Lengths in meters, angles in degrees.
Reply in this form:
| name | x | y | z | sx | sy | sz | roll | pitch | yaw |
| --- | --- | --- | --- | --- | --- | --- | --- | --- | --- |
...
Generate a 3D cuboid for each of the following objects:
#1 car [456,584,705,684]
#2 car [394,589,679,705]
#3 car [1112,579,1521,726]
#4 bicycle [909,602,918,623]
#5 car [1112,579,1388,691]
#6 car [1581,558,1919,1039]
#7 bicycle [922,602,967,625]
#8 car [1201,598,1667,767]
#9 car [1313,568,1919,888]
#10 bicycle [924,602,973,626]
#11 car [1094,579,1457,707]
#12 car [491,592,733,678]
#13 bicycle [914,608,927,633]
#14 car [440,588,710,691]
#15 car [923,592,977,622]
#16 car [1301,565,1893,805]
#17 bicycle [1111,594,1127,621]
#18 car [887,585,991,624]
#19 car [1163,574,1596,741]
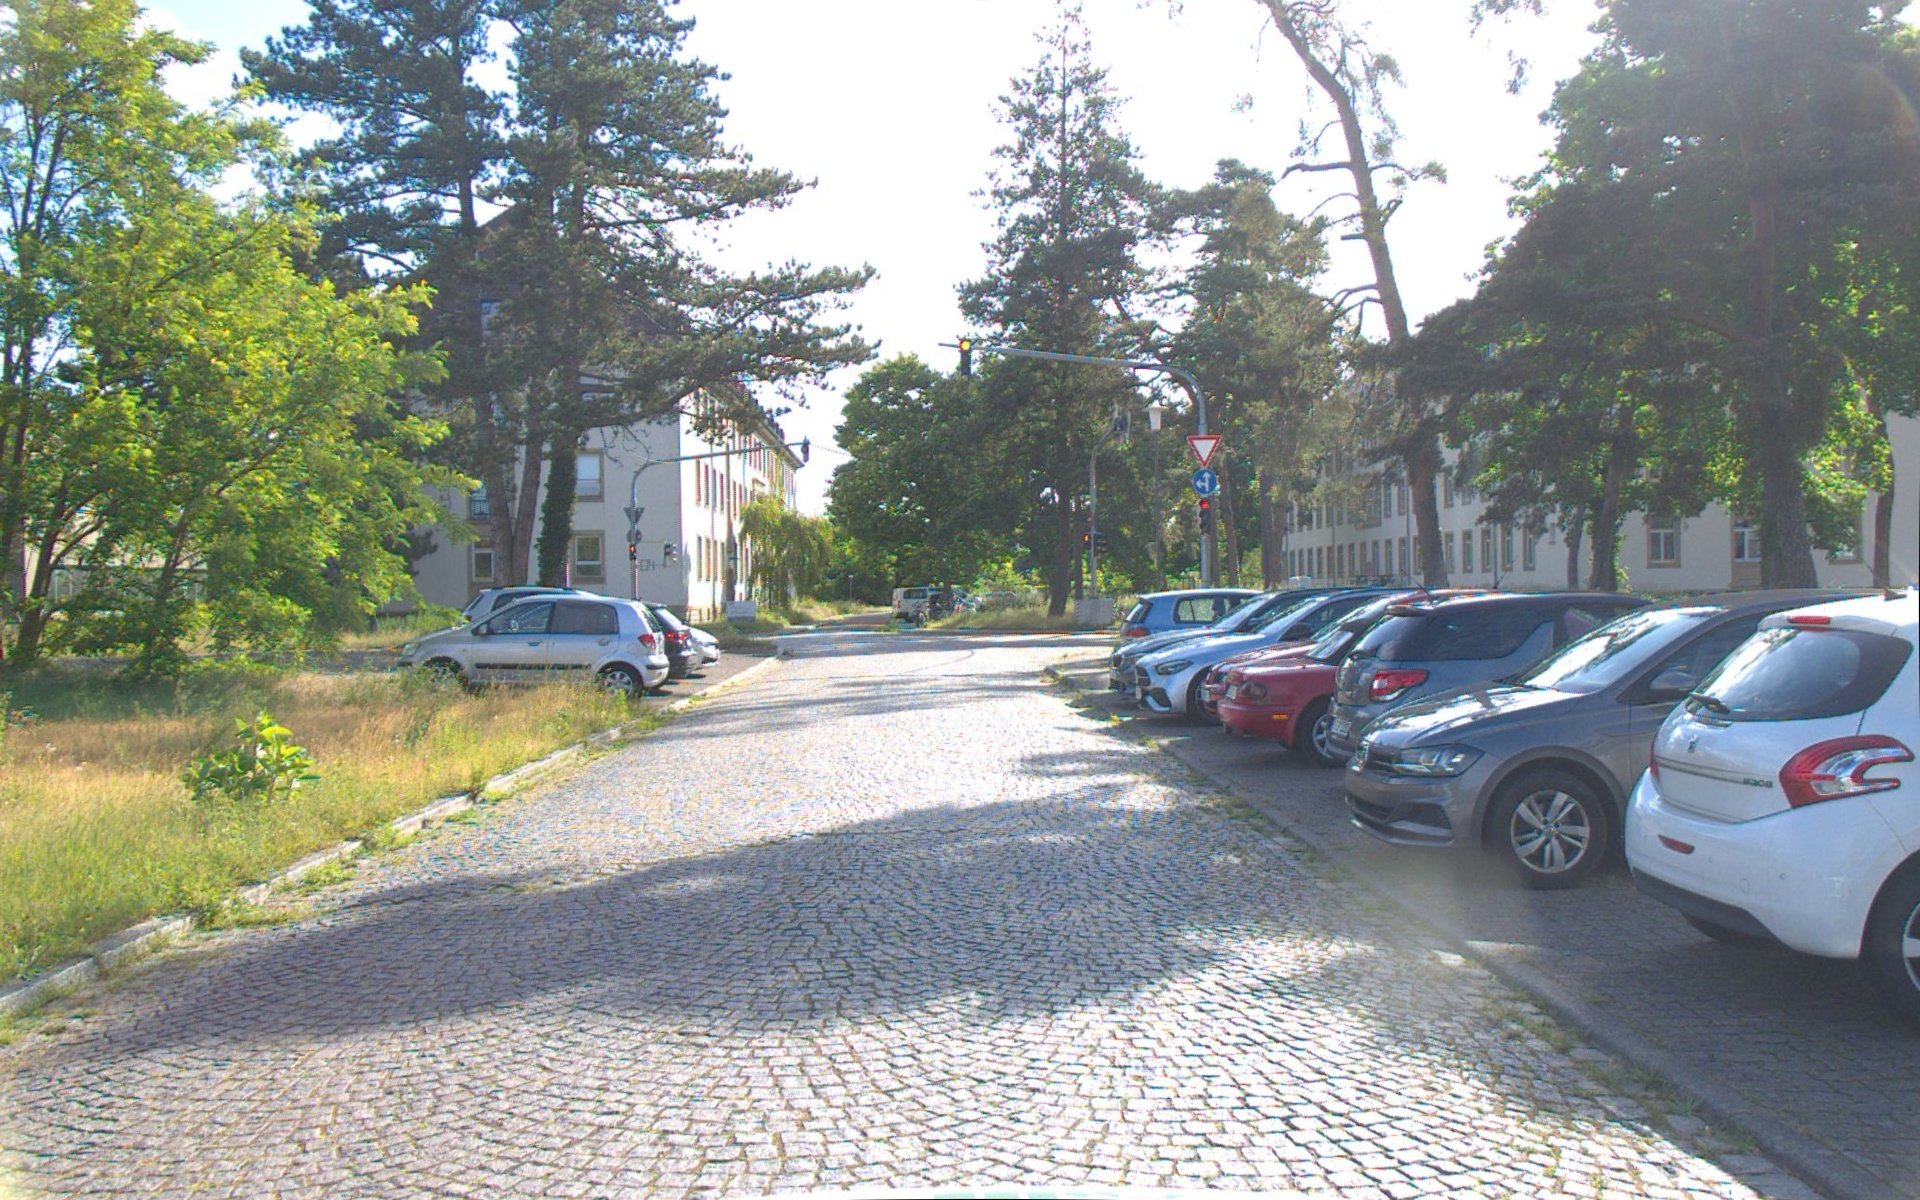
| name | x | y | z | sx | sy | sz | roll | pitch | yaw |
| --- | --- | --- | --- | --- | --- | --- | --- | --- | --- |
| car | -6.610 | 0.571 | 29.158 | 4.000 | 1.621 | 1.884 | 1 | 0 | -5 |
| car | -5.969 | 0.649 | 23.616 | 3.673 | 1.513 | 1.644 | 1 | 0 | -5 |
| car | 4.054 | 0.570 | 19.314 | 4.342 | 1.440 | 1.780 | -3 | 1 | -1 |
| bicycle | -2.360 | 0.612 | 83.163 | 0.409 | 1.028 | 1.483 | 1 | -1 | -1 |
| car | 4.291 | 0.497 | 24.815 | 3.803 | 1.440 | 1.636 | -3 | 1 | -1 |
| car | 4.585 | 0.592 | 6.427 | 3.632 | 1.561 | 1.761 | -3 | 1 | -1 |
| bicycle | -0.713 | 0.623 | 75.267 | 1.967 | 1.028 | 0.631 | 1 | -1 | -9 |
| car | 4.133 | 0.692 | 14.832 | 3.632 | 1.244 | 1.746 | -3 | 1 | -1 |
| car | 4.039 | 0.631 | 9.359 | 3.632 | 1.474 | 1.856 | -3 | 1 | -1 |
| bicycle | -0.507 | 0.614 | 73.559 | 2.070 | 1.028 | 0.619 | 1 | -1 | -9 |
| car | 4.118 | 0.542 | 22.031 | 4.467 | 1.440 | 1.636 | -3 | 1 | -1 |
| car | -6.534 | 0.648 | 31.414 | 4.248 | 1.494 | 1.829 | 1 | 0 | -5 |
| bicycle | -1.666 | 0.860 | 69.899 | 0.458 | 1.028 | 1.584 | 1 | -1 | -5 |
| car | -6.018 | 0.606 | 26.218 | 3.909 | 1.506 | 1.802 | 1 | 0 | -5 |
| car | -0.546 | 0.368 | 88.036 | 2.728 | 1.492 | 1.669 | 1 | -1 | -6 |
| car | 4.563 | 0.566 | 12.242 | 3.632 | 1.474 | 1.816 | -3 | 1 | -2 |
| bicycle | 5.923 | 0.281 | 61.639 | 0.295 | 0.977 | 1.584 | 1 | -1 | -5 |
| car | -1.163 | 0.252 | 91.612 | 5.439 | 2.049 | 1.989 | 1 | -1 | -20 |
| car | 4.271 | 0.554 | 17.236 | 4.044 | 1.474 | 1.636 | -3 | 1 | -1 |
